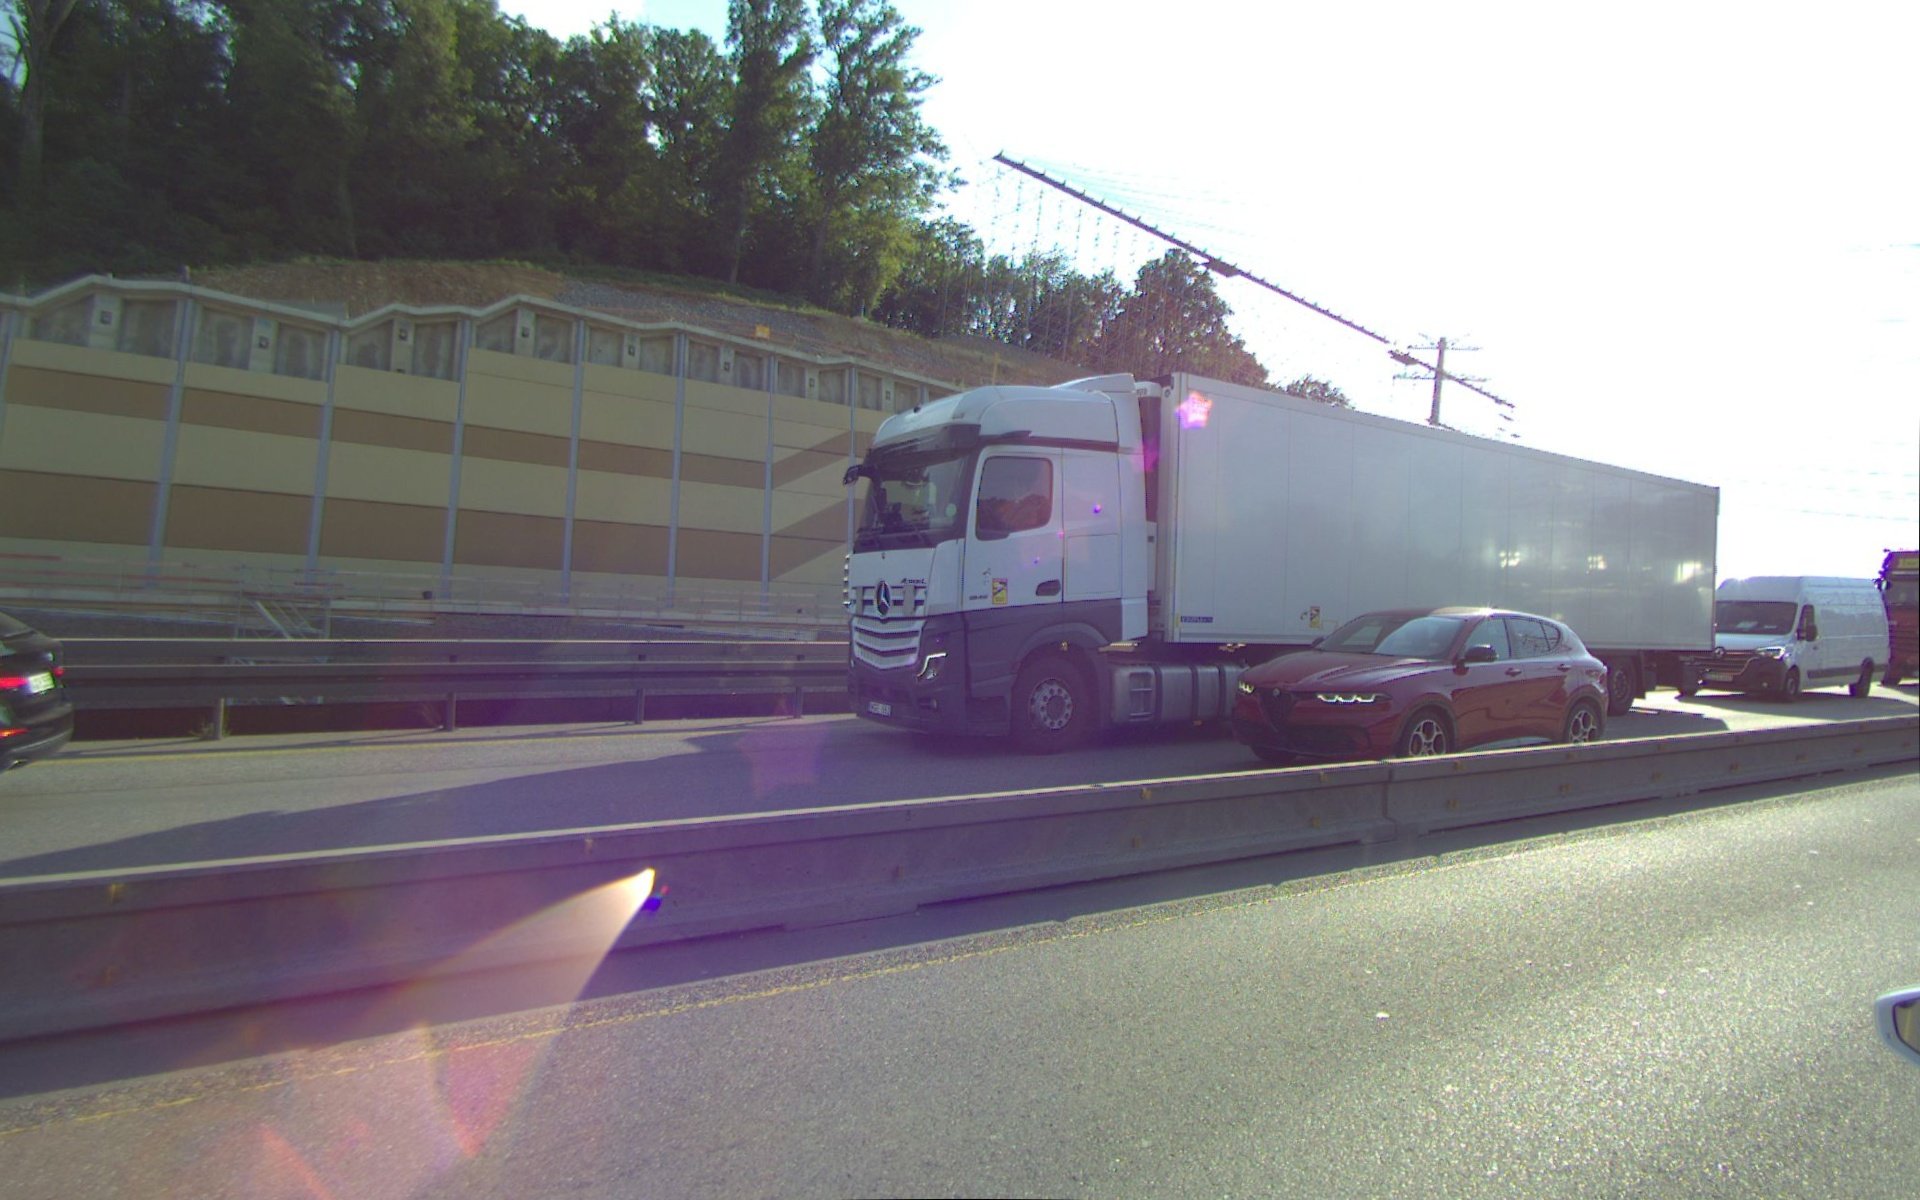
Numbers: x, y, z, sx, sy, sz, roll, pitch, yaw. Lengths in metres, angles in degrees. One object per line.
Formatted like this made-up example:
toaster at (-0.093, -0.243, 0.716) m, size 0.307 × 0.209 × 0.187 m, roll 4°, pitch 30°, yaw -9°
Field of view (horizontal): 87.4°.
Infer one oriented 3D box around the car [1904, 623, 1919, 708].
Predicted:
car at (20.693, 1.297, 19.906) m, size 4.753 × 1.610 × 1.857 m, roll 0°, pitch 2°, yaw -34°

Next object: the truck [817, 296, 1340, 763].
truck at (1.492, -0.573, 11.853) m, size 5.620 × 4.274 × 2.698 m, roll 2°, pitch 0°, yaw -32°

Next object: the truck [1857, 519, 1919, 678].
truck at (28.744, 0.028, 29.102) m, size 5.872 × 4.357 × 2.728 m, roll 2°, pitch 0°, yaw -34°

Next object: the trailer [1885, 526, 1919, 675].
trailer at (34.233, 0.217, 32.853) m, size 13.738 × 4.391 × 2.749 m, roll 2°, pitch 0°, yaw -34°

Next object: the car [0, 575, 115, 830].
car at (-7.839, 0.551, 5.487) m, size 4.658 × 1.479 × 1.735 m, roll 1°, pitch 0°, yaw -31°

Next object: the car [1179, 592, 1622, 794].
car at (4.471, 0.765, 10.011) m, size 4.406 × 1.589 × 1.877 m, roll 1°, pitch 1°, yaw -32°

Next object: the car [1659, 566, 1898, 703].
car at (18.514, 0.690, 22.586) m, size 6.871 × 2.726 × 2.011 m, roll 1°, pitch 1°, yaw -32°

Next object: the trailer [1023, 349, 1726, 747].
trailer at (7.312, -0.374, 15.581) m, size 13.598 × 4.274 × 2.705 m, roll 2°, pitch 0°, yaw -33°
